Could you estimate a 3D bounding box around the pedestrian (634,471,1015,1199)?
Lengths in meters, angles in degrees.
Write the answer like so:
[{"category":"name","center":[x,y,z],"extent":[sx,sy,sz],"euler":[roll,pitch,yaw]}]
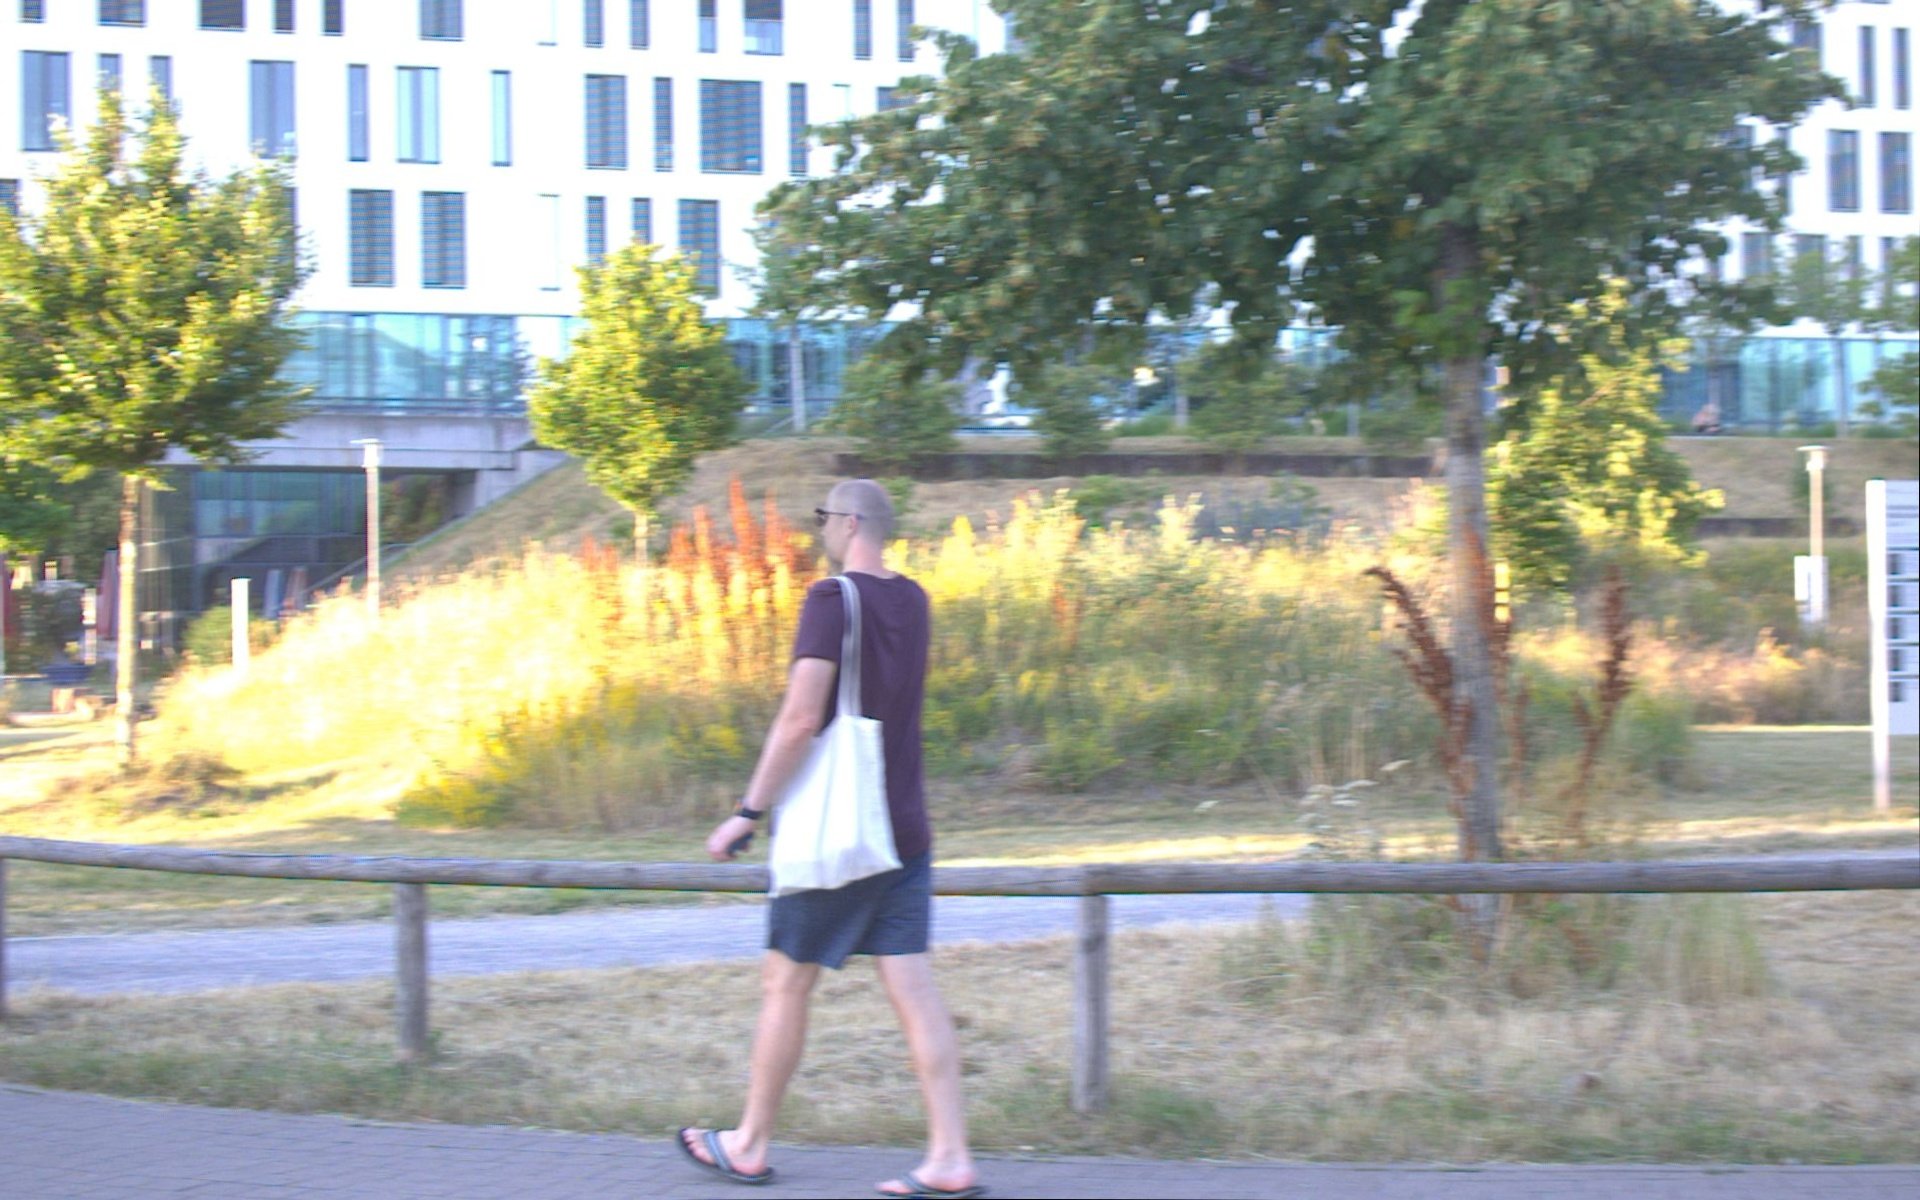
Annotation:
[{"category":"pedestrian","center":[-0.346,0.587,8.407],"extent":[0.731,1.778,0.802],"euler":[0,0,-18]}]
